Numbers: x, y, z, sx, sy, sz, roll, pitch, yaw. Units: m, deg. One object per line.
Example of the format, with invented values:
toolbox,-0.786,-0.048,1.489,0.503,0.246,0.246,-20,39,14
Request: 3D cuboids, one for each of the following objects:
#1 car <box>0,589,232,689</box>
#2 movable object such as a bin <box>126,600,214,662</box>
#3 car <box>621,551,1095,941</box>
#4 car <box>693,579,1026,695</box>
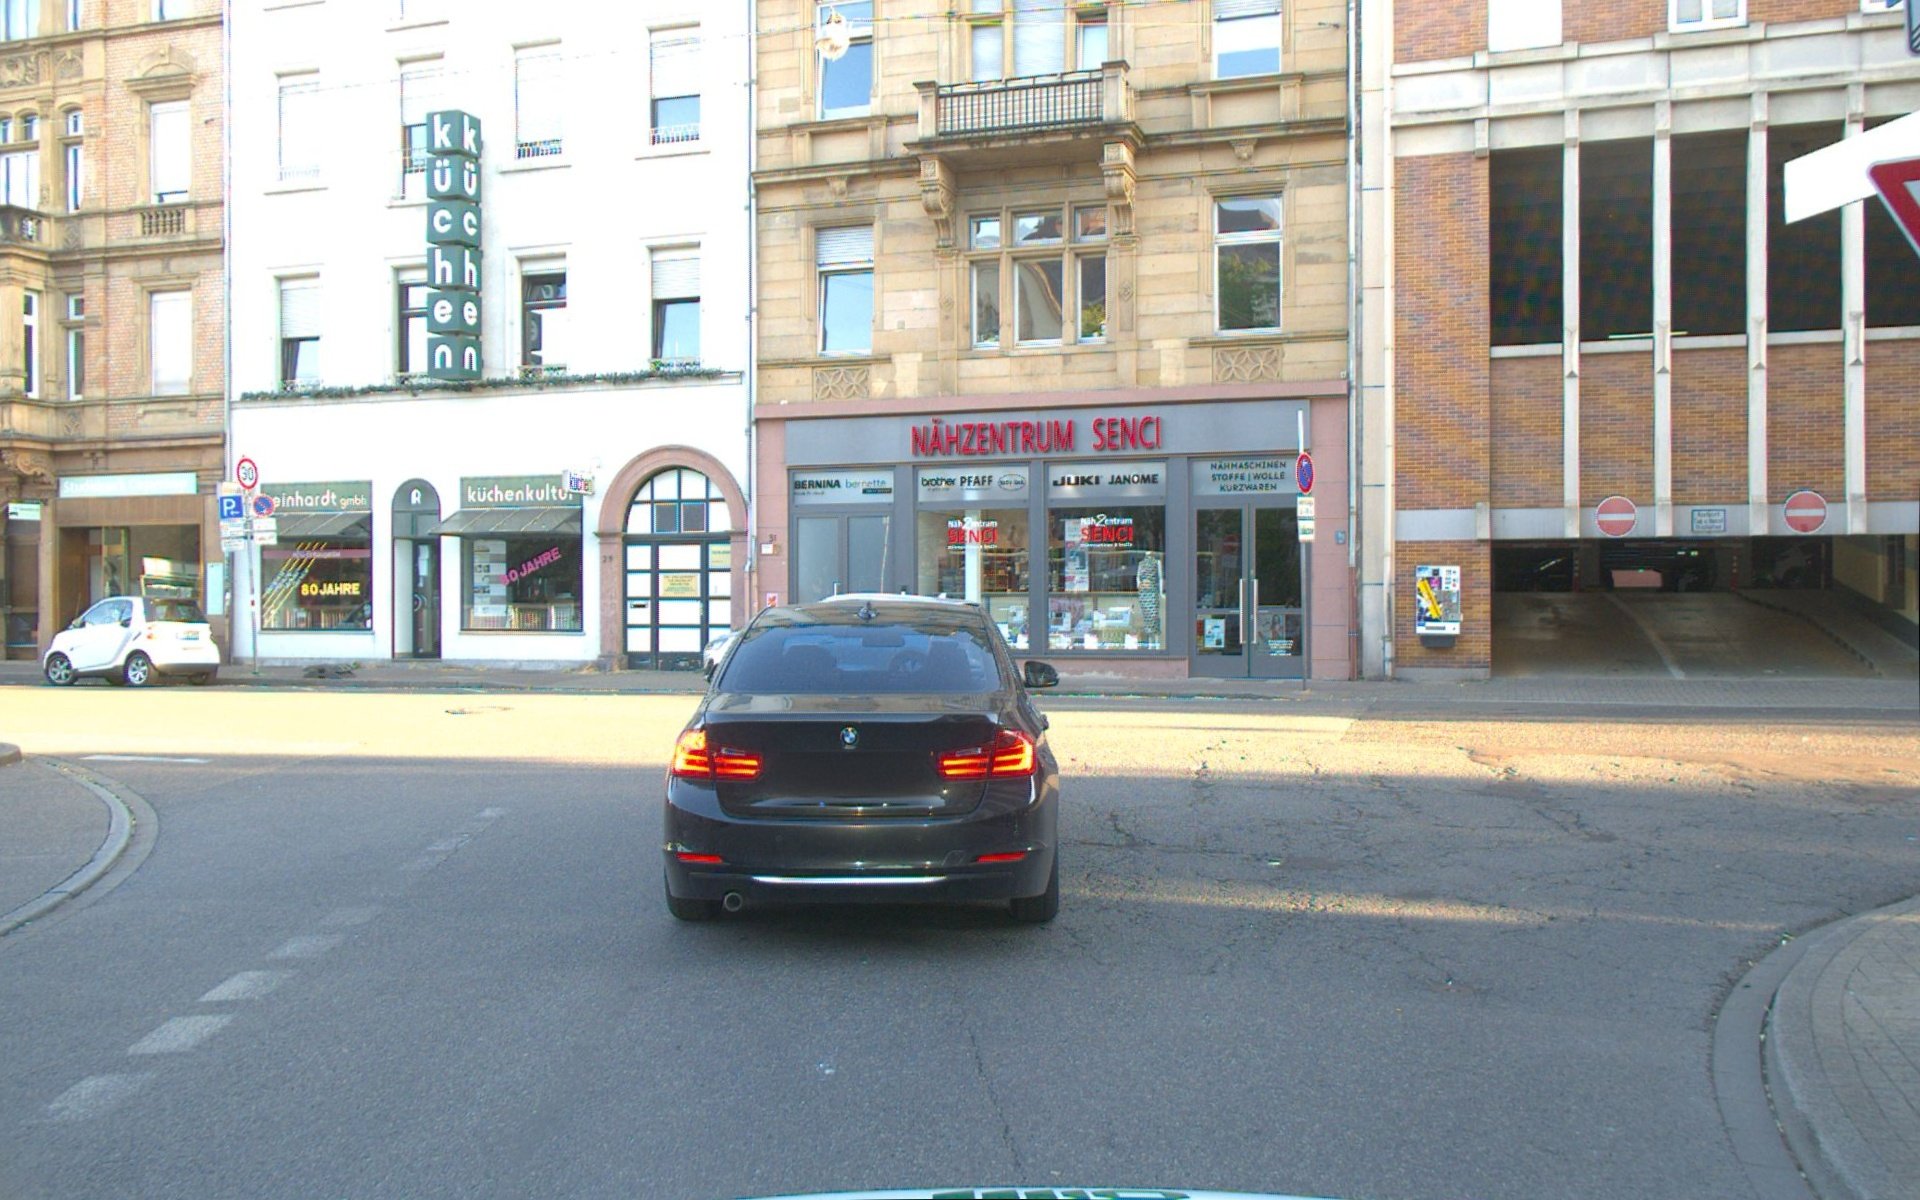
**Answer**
car,-15.172,0.654,29.459,3.903,1.612,1.706,1,0,19
movable object such as a bin,-15.727,0.613,32.935,1.364,1.207,0.869,0,0,18
car,-0.362,0.595,8.561,1.849,1.518,4.205,0,-1,1
car,-1.488,0.518,24.872,4.568,1.562,2.001,1,0,17
